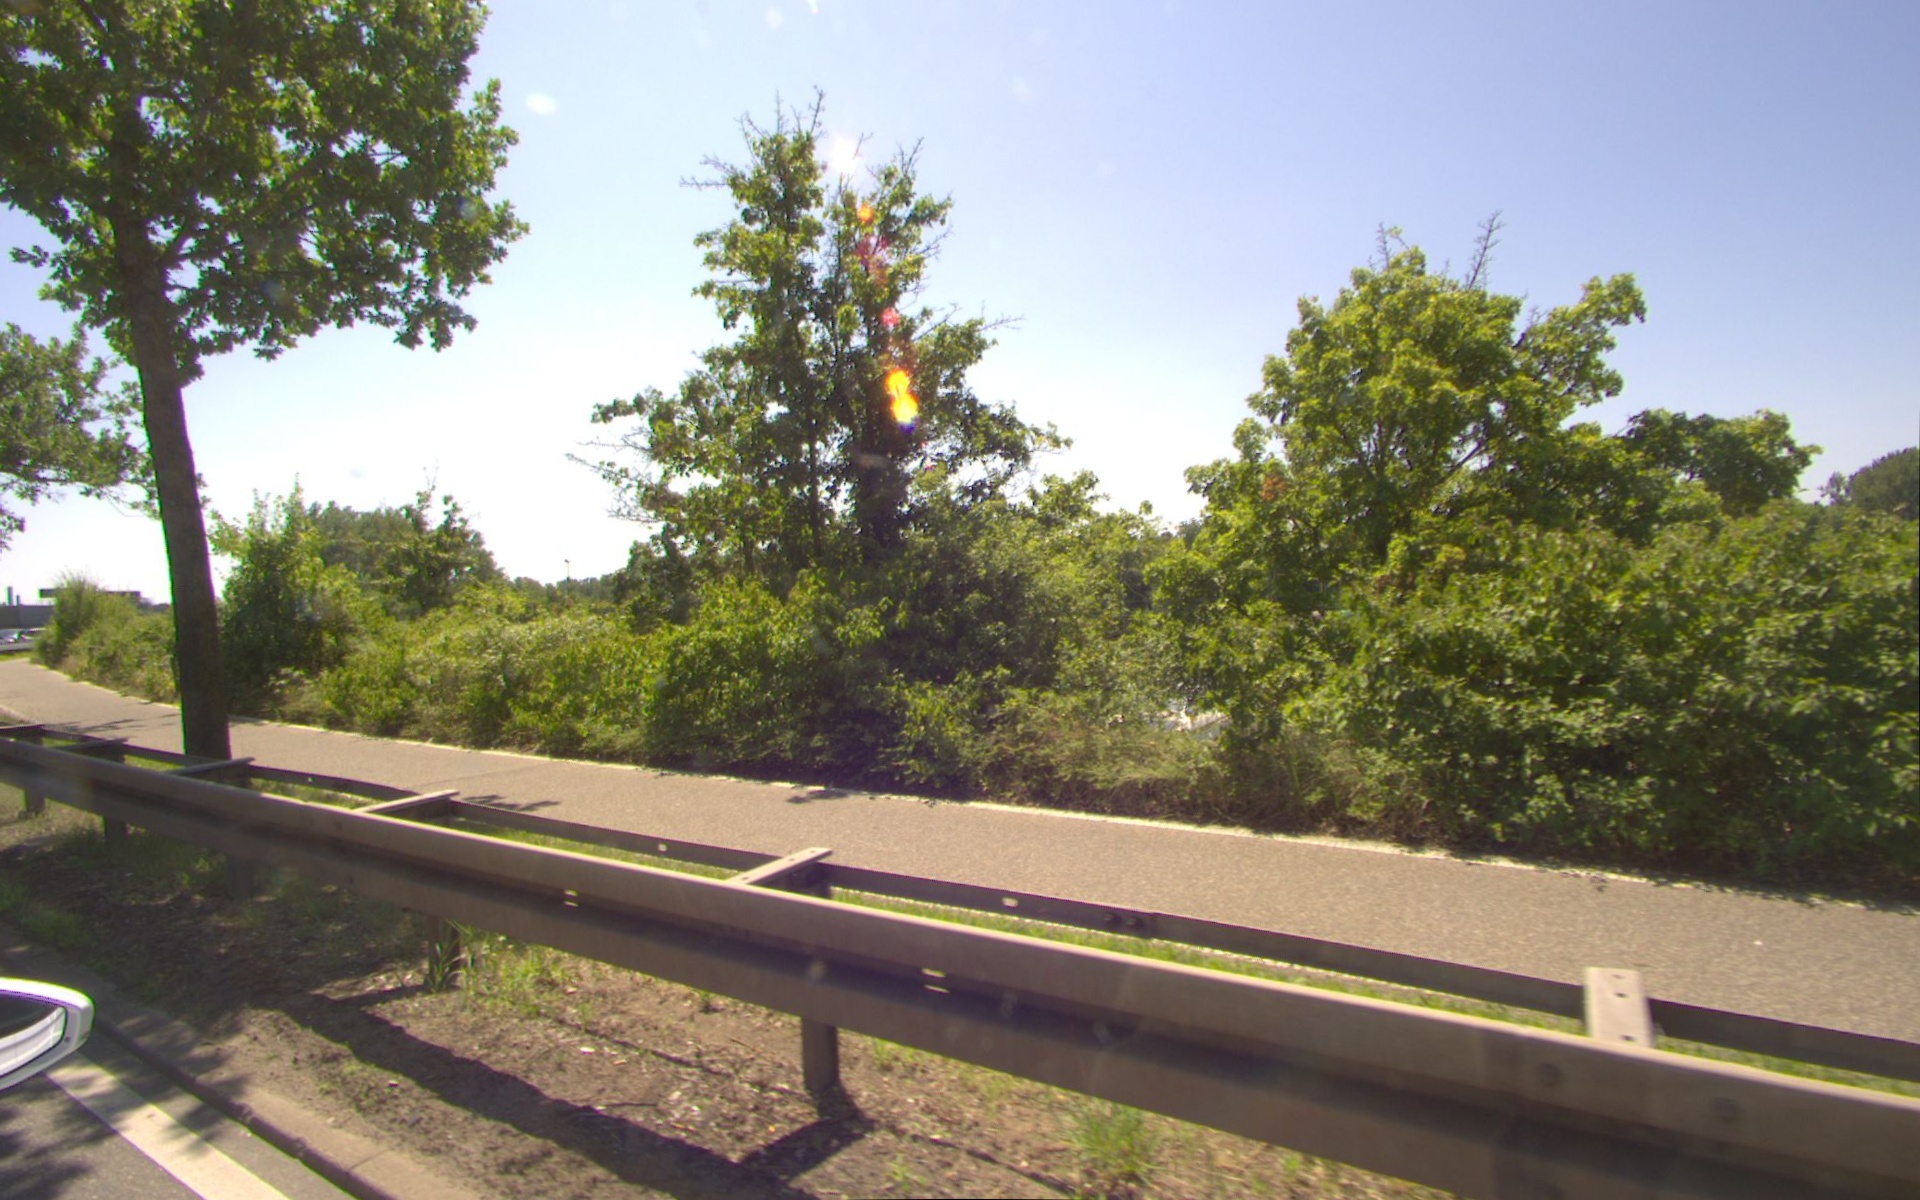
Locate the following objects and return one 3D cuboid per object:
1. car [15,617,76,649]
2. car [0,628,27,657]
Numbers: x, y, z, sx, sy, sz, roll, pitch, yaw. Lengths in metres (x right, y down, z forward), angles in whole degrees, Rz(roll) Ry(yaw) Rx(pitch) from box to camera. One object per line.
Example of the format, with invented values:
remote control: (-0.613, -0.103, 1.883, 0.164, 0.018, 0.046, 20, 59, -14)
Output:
car: (-54.025, 1.992, 59.236, 1.974, 1.790, 4.725, 1, -3, -34)
car: (-60.721, 2.679, 63.344, 1.728, 1.786, 4.409, 0, -2, -33)
